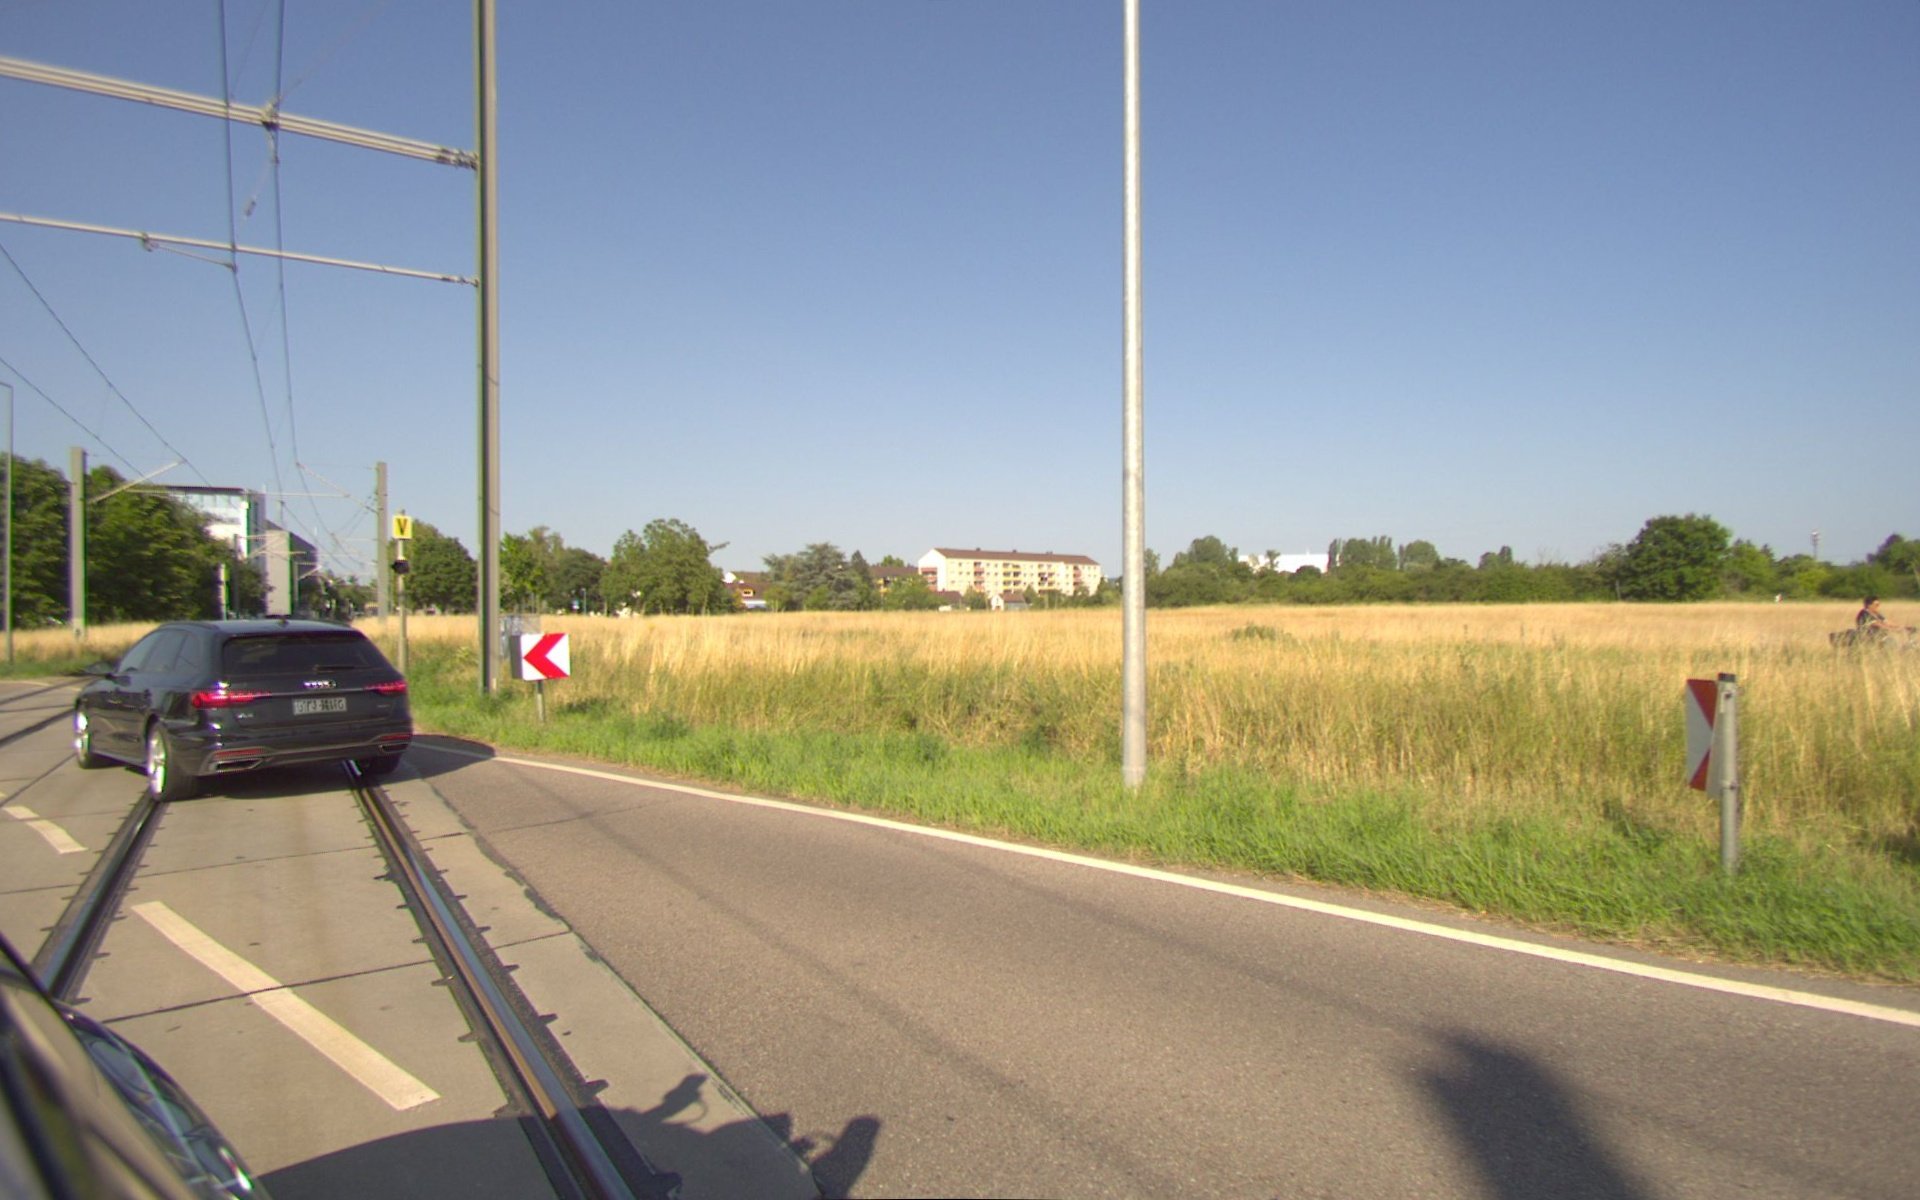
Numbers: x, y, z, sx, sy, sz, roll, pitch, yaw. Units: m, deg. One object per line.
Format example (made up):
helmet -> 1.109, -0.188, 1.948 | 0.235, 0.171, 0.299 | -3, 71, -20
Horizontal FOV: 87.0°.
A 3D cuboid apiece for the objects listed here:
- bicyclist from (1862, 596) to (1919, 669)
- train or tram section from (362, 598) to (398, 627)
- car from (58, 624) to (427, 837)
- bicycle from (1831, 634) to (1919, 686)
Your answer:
bicyclist -> 16.176, 0.542, 17.445 | 0.594, 1.214, 0.791 | -2, 0, -34
train or tram section -> -87.003, 1.783, 152.082 | 2.866, 3.595, 14.309 | -2, 2, -23
car -> -6.704, 1.001, 9.274 | 4.279, 1.450, 1.676 | -2, 0, 39
bicycle -> 16.211, 1.029, 17.411 | 0.604, 0.845, 1.741 | -1, 0, -34
